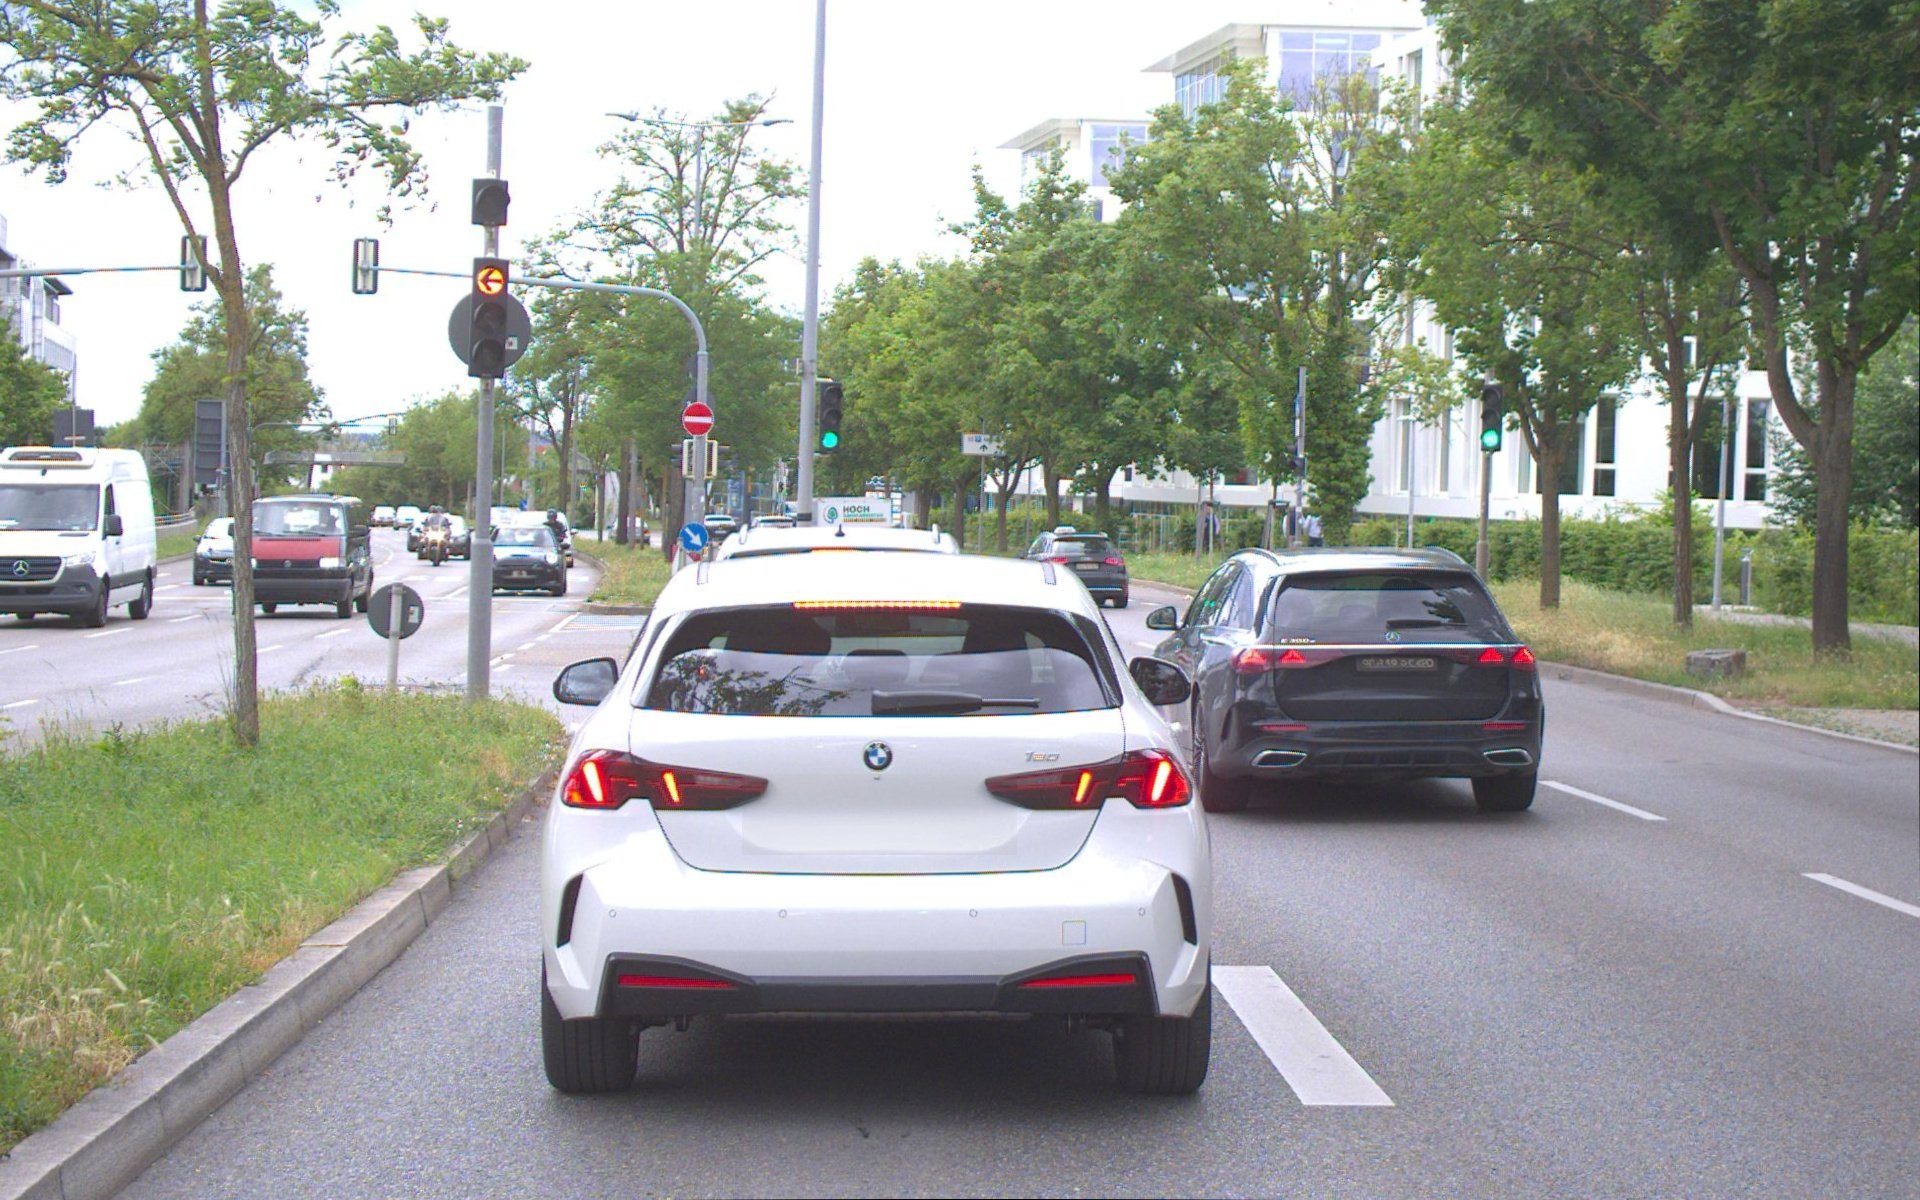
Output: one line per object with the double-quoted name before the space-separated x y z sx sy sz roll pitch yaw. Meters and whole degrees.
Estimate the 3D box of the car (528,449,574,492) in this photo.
"car" -20.971 -6.630 176.255 1.993 2.004 4.325 3 1 -4

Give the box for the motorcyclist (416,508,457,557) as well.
"motorcyclist" -15.227 -1.953 100.023 0.910 1.387 1.674 1 1 -1

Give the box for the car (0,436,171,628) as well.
"car" -13.274 -1.038 50.993 1.993 2.625 5.876 3 1 -4

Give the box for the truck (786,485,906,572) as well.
"truck" -3.541 -2.165 105.123 2.858 2.511 6.289 1 1 -9

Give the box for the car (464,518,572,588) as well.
"car" -8.968 -0.968 69.970 1.754 1.366 3.780 0 1 -1

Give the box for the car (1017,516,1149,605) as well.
"car" 2.288 -0.776 65.163 1.993 1.590 4.001 1 1 -5

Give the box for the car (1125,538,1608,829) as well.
"car" 2.226 0.389 20.283 2.053 1.481 4.974 1 1 -2

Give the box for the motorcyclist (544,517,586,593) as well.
"motorcyclist" -9.614 -1.099 83.741 0.848 1.830 1.259 1 1 -1

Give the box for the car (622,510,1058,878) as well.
"car" -0.559 0.413 18.018 1.993 1.666 4.000 1 1 0

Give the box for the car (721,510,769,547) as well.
"car" -9.244 -3.098 148.150 1.993 1.485 4.001 2 1 -3

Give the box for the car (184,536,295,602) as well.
"car" -15.870 -0.700 75.876 1.708 1.414 3.803 0 1 -1

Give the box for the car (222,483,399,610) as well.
"car" -10.381 -0.867 55.264 1.935 1.911 4.974 1 1 -1

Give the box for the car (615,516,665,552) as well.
"car" -14.030 -2.923 150.956 1.993 1.485 4.001 2 1 -3

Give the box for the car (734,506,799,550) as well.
"car" -6.955 -2.584 123.070 1.993 1.503 4.001 1 1 -8

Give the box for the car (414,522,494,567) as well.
"car" -16.132 -1.784 109.708 1.993 1.349 4.000 1 1 -1

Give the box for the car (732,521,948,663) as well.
"car" -1.319 -0.111 39.497 1.994 1.503 3.999 1 1 5

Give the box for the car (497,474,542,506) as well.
"car" -24.796 -6.180 193.560 1.993 1.612 4.000 3 1 -1

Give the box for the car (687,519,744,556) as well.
"car" -10.302 -2.627 144.721 1.993 1.503 4.001 1 1 -9

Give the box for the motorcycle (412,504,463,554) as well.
"motorcycle" -15.234 -2.067 100.341 0.889 1.393 4.000 1 1 -1

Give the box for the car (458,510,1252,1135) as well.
"car" -0.197 0.506 10.203 1.863 1.444 4.000 1 1 2
